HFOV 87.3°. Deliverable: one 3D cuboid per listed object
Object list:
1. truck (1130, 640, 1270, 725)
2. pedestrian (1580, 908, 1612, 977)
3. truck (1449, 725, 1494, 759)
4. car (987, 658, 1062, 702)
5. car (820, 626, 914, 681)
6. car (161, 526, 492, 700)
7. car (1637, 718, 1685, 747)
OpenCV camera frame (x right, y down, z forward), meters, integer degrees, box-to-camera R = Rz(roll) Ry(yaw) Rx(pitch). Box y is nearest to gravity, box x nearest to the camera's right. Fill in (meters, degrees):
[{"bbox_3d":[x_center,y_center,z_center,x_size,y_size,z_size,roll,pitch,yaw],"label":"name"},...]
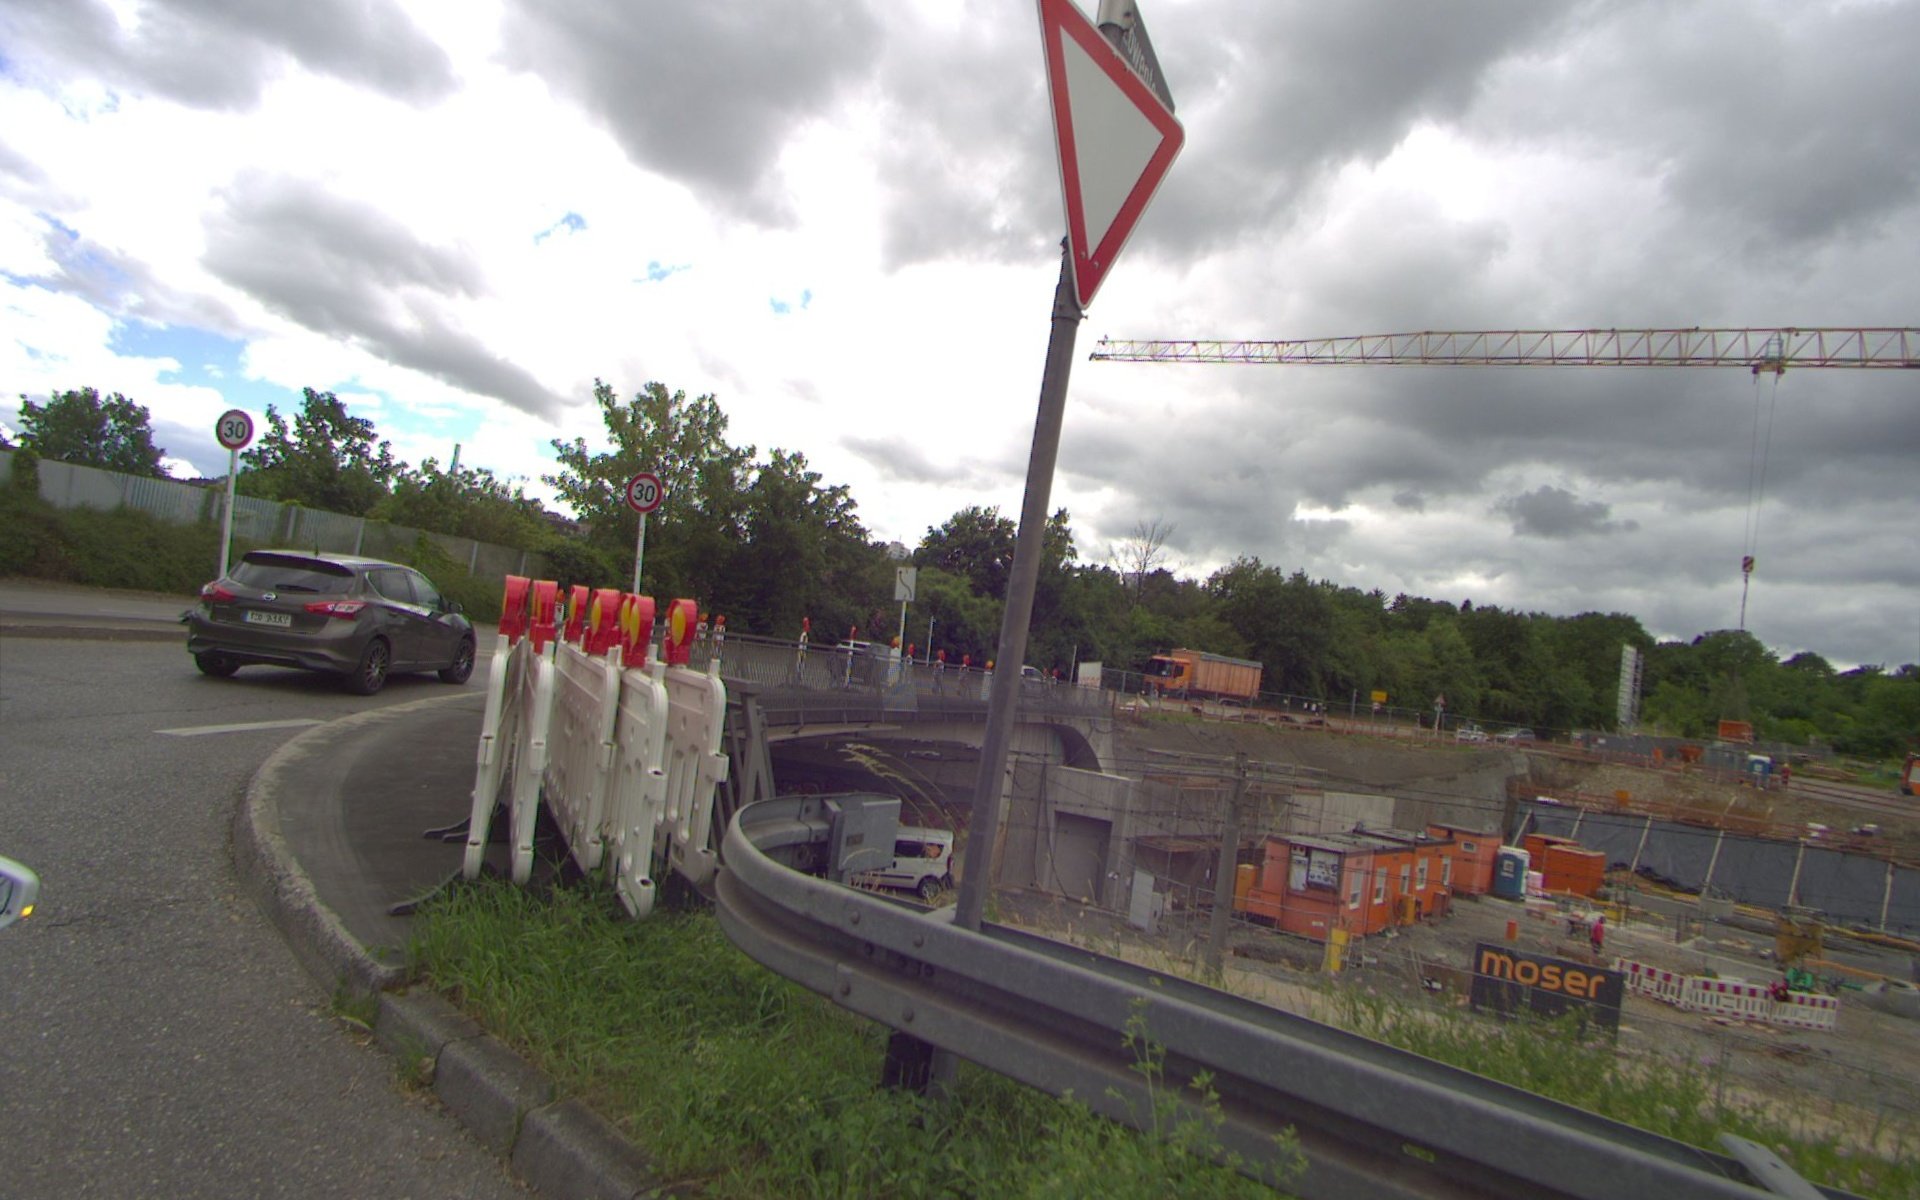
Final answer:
[{"bbox_3d":[15.902,5.493,66.192,9.718,4.267,3.090,10,-3,-37],"label":"truck"},{"bbox_3d":[21.164,11.381,33.487,0.693,2.031,0.803,5,-8,38],"label":"pedestrian"},{"bbox_3d":[39.951,11.097,78.588,3.204,2.033,1.725,13,-6,-35],"label":"truck"},{"bbox_3d":[3.205,3.969,49.415,1.691,1.692,3.994,5,-5,36],"label":"car"},{"bbox_3d":[-3.196,1.925,35.257,1.791,1.569,3.794,8,-2,17],"label":"car"},{"bbox_3d":[-7.448,0.193,12.389,1.773,1.569,3.998,8,-2,-7],"label":"car"},{"bbox_3d":[63.043,11.918,90.477,3.960,2.035,1.987,10,-4,-30],"label":"car"}]
